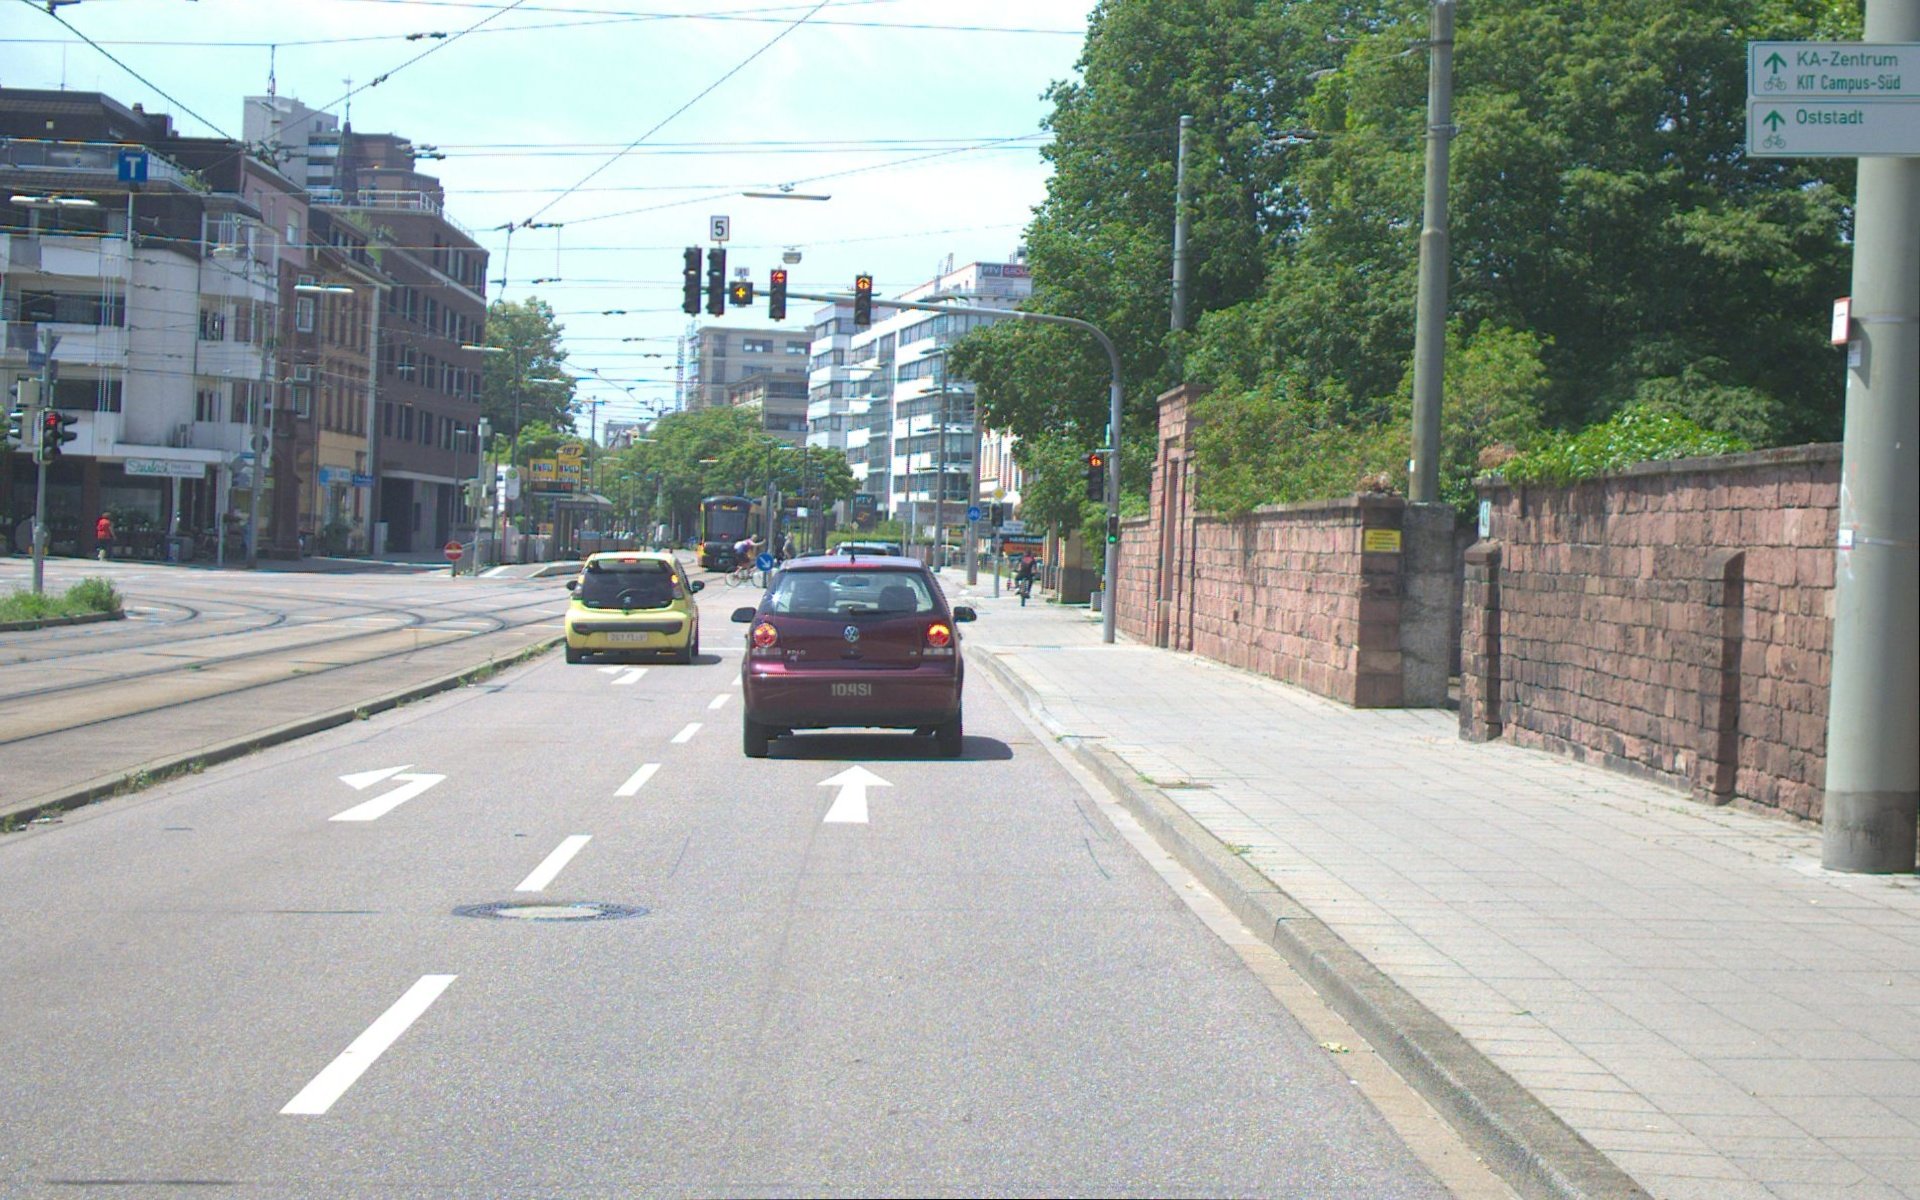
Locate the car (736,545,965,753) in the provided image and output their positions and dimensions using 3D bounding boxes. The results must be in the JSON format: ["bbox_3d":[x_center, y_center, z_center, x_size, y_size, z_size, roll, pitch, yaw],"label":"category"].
[{"bbox_3d":[-0.827,0.316,26.307,1.610,1.458,4.086,0,1,-2],"label":"car"}]

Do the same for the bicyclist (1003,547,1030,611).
[{"bbox_3d":[1.613,-0.604,98.351,0.721,1.812,0.888,1,0,-1],"label":"bicyclist"}]

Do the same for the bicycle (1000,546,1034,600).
[{"bbox_3d":[1.644,-0.773,99.596,0.835,1.520,4.000,1,0,-1],"label":"bicycle"}]

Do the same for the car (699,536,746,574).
[{"bbox_3d":[-10.875,-2.050,157.560,1.938,1.635,4.000,1,0,-2],"label":"car"}]

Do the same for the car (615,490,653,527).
[{"bbox_3d":[-18.449,-5.151,194.497,1.735,2.007,4.000,2,1,-1],"label":"car"}]

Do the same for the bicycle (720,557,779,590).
[{"bbox_3d":[-6.805,-0.861,110.930,1.865,1.004,0.579,1,0,-5],"label":"bicycle"}]

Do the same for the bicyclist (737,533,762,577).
[{"bbox_3d":[-6.800,-1.462,110.976,0.765,1.401,0.506,1,0,-5],"label":"bicyclist"}]

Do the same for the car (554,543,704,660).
[{"bbox_3d":[-4.316,-0.005,45.196,1.723,1.440,3.293,1,1,-2],"label":"car"}]

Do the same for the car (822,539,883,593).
[{"bbox_3d":[-2.862,-0.912,91.732,1.572,1.411,3.720,0,1,-2],"label":"car"}]
